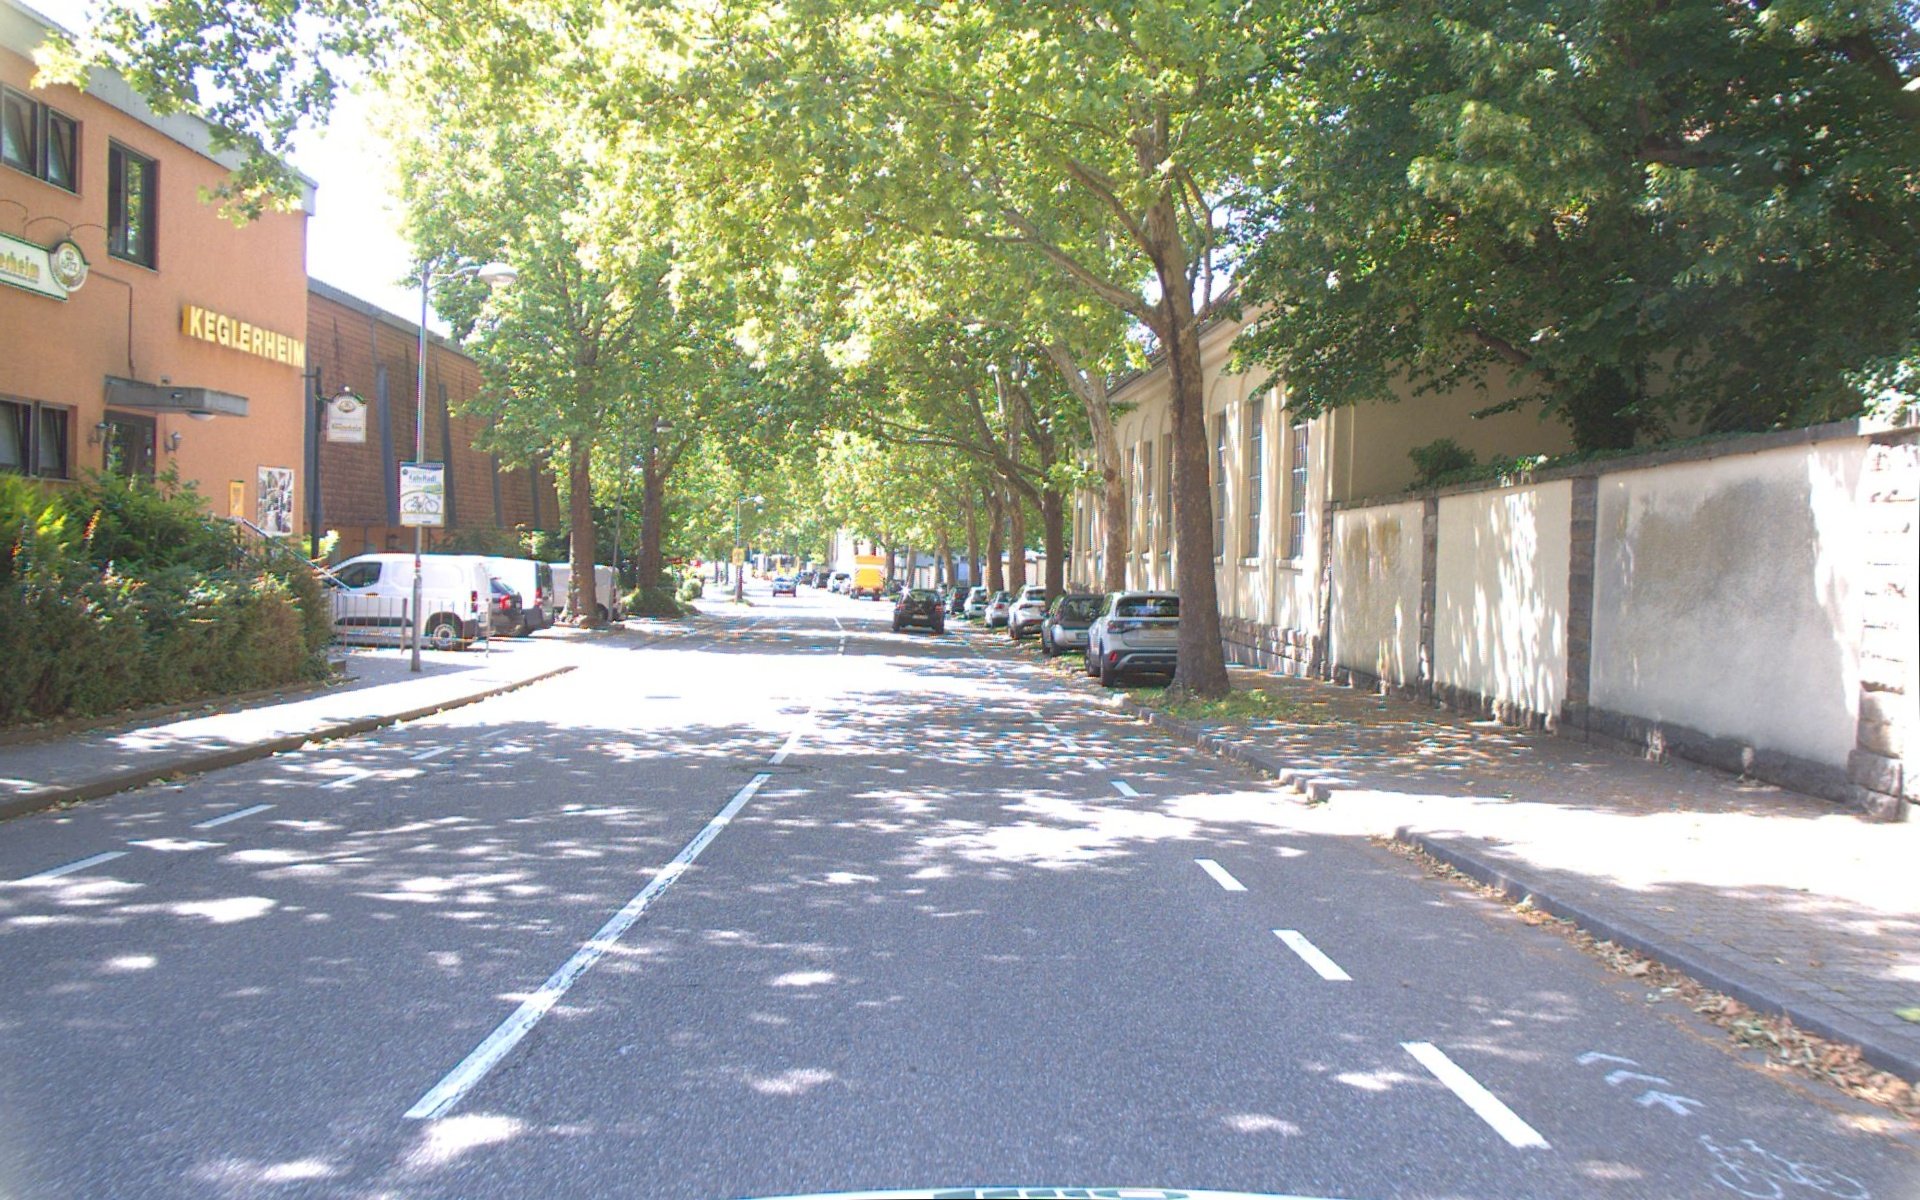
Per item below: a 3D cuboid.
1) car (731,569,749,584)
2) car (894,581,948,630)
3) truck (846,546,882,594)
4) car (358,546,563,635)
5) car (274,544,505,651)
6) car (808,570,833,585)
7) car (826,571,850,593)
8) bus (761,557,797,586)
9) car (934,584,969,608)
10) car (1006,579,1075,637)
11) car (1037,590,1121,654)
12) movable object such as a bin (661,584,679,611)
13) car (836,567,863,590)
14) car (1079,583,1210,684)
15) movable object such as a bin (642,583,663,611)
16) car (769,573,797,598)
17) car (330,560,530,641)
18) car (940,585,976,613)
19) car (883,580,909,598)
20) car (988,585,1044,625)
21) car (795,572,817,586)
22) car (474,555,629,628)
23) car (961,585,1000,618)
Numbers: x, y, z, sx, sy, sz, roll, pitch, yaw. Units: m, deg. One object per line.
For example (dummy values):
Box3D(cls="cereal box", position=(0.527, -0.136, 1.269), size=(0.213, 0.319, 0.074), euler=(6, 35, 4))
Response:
Box3D(cls="car", position=(-23.031, -2.477, 173.072), size=(1.679, 1.473, 4.049), euler=(1, 0, -9))
Box3D(cls="car", position=(-1.353, 0.164, 55.836), size=(1.677, 1.472, 4.056), euler=(2, 2, -3))
Box3D(cls="truck", position=(-7.002, -2.148, 120.575), size=(2.324, 3.189, 5.762), euler=(2, -1, -5))
Box3D(cls="car", position=(-12.026, -0.219, 40.031), size=(4.338, 1.835, 1.901), euler=(4, 0, -5))
Box3D(cls="car", position=(-11.292, -0.045, 32.950), size=(3.910, 1.824, 1.866), euler=(4, 0, -5))
Box3D(cls="car", position=(-13.279, -2.134, 157.554), size=(1.737, 1.398, 3.715), euler=(0, 0, -15))
Box3D(cls="car", position=(-10.614, -1.572, 143.889), size=(1.844, 1.715, 3.993), euler=(2, -1, -7))
Box3D(cls="bus", position=(-21.281, -3.277, 194.084), size=(2.619, 3.205, 11.155), euler=(1, 0, -14))
Box3D(cls="car", position=(-0.536, -0.241, 99.815), size=(1.733, 1.398, 3.724), euler=(1, 0, -7))
Box3D(cls="car", position=(2.511, 0.222, 52.400), size=(1.771, 1.718, 4.749), euler=(1, 0, -2))
Box3D(cls="car", position=(2.864, 0.497, 40.589), size=(1.588, 1.465, 4.431), euler=(1, 0, -2))
Box3D(cls="movable object such as a bin", position=(-11.643, -0.092, 66.401), size=(0.611, 1.066, 0.620), euler=(2, 0, 0))
Box3D(cls="car", position=(-9.117, -1.760, 136.425), size=(1.845, 1.715, 3.991), euler=(2, -1, -10))
Box3D(cls="car", position=(3.156, 0.512, 29.105), size=(1.705, 1.584, 4.779), euler=(0, 1, -1))
Box3D(cls="movable object such as a bin", position=(-12.330, -0.118, 66.327), size=(0.720, 1.097, 0.701), euler=(2, 0, -3))
Box3D(cls="car", position=(-13.351, -1.082, 124.462), size=(1.956, 1.695, 3.993), euler=(2, -1, -7))
Box3D(cls="car", position=(-11.929, 0.012, 37.437), size=(3.910, 1.541, 1.866), euler=(4, 0, -5))
Box3D(cls="car", position=(-0.144, -0.074, 90.040), size=(1.731, 1.491, 3.872), euler=(1, 0, -4))
Box3D(cls="car", position=(-5.229, -0.923, 135.071), size=(1.733, 1.398, 3.724), euler=(2, 0, -7))
Box3D(cls="car", position=(2.103, 0.170, 63.046), size=(1.731, 1.458, 3.872), euler=(1, 0, -4))
Box3D(cls="car", position=(-15.754, -2.177, 168.888), size=(1.737, 1.398, 3.716), euler=(0, 0, -14))
Box3D(cls="car", position=(-11.837, -0.236, 48.142), size=(4.048, 1.835, 1.901), euler=(4, 0, -5))
Box3D(cls="car", position=(0.926, 0.035, 77.359), size=(1.546, 1.491, 3.872), euler=(1, 0, -4))
